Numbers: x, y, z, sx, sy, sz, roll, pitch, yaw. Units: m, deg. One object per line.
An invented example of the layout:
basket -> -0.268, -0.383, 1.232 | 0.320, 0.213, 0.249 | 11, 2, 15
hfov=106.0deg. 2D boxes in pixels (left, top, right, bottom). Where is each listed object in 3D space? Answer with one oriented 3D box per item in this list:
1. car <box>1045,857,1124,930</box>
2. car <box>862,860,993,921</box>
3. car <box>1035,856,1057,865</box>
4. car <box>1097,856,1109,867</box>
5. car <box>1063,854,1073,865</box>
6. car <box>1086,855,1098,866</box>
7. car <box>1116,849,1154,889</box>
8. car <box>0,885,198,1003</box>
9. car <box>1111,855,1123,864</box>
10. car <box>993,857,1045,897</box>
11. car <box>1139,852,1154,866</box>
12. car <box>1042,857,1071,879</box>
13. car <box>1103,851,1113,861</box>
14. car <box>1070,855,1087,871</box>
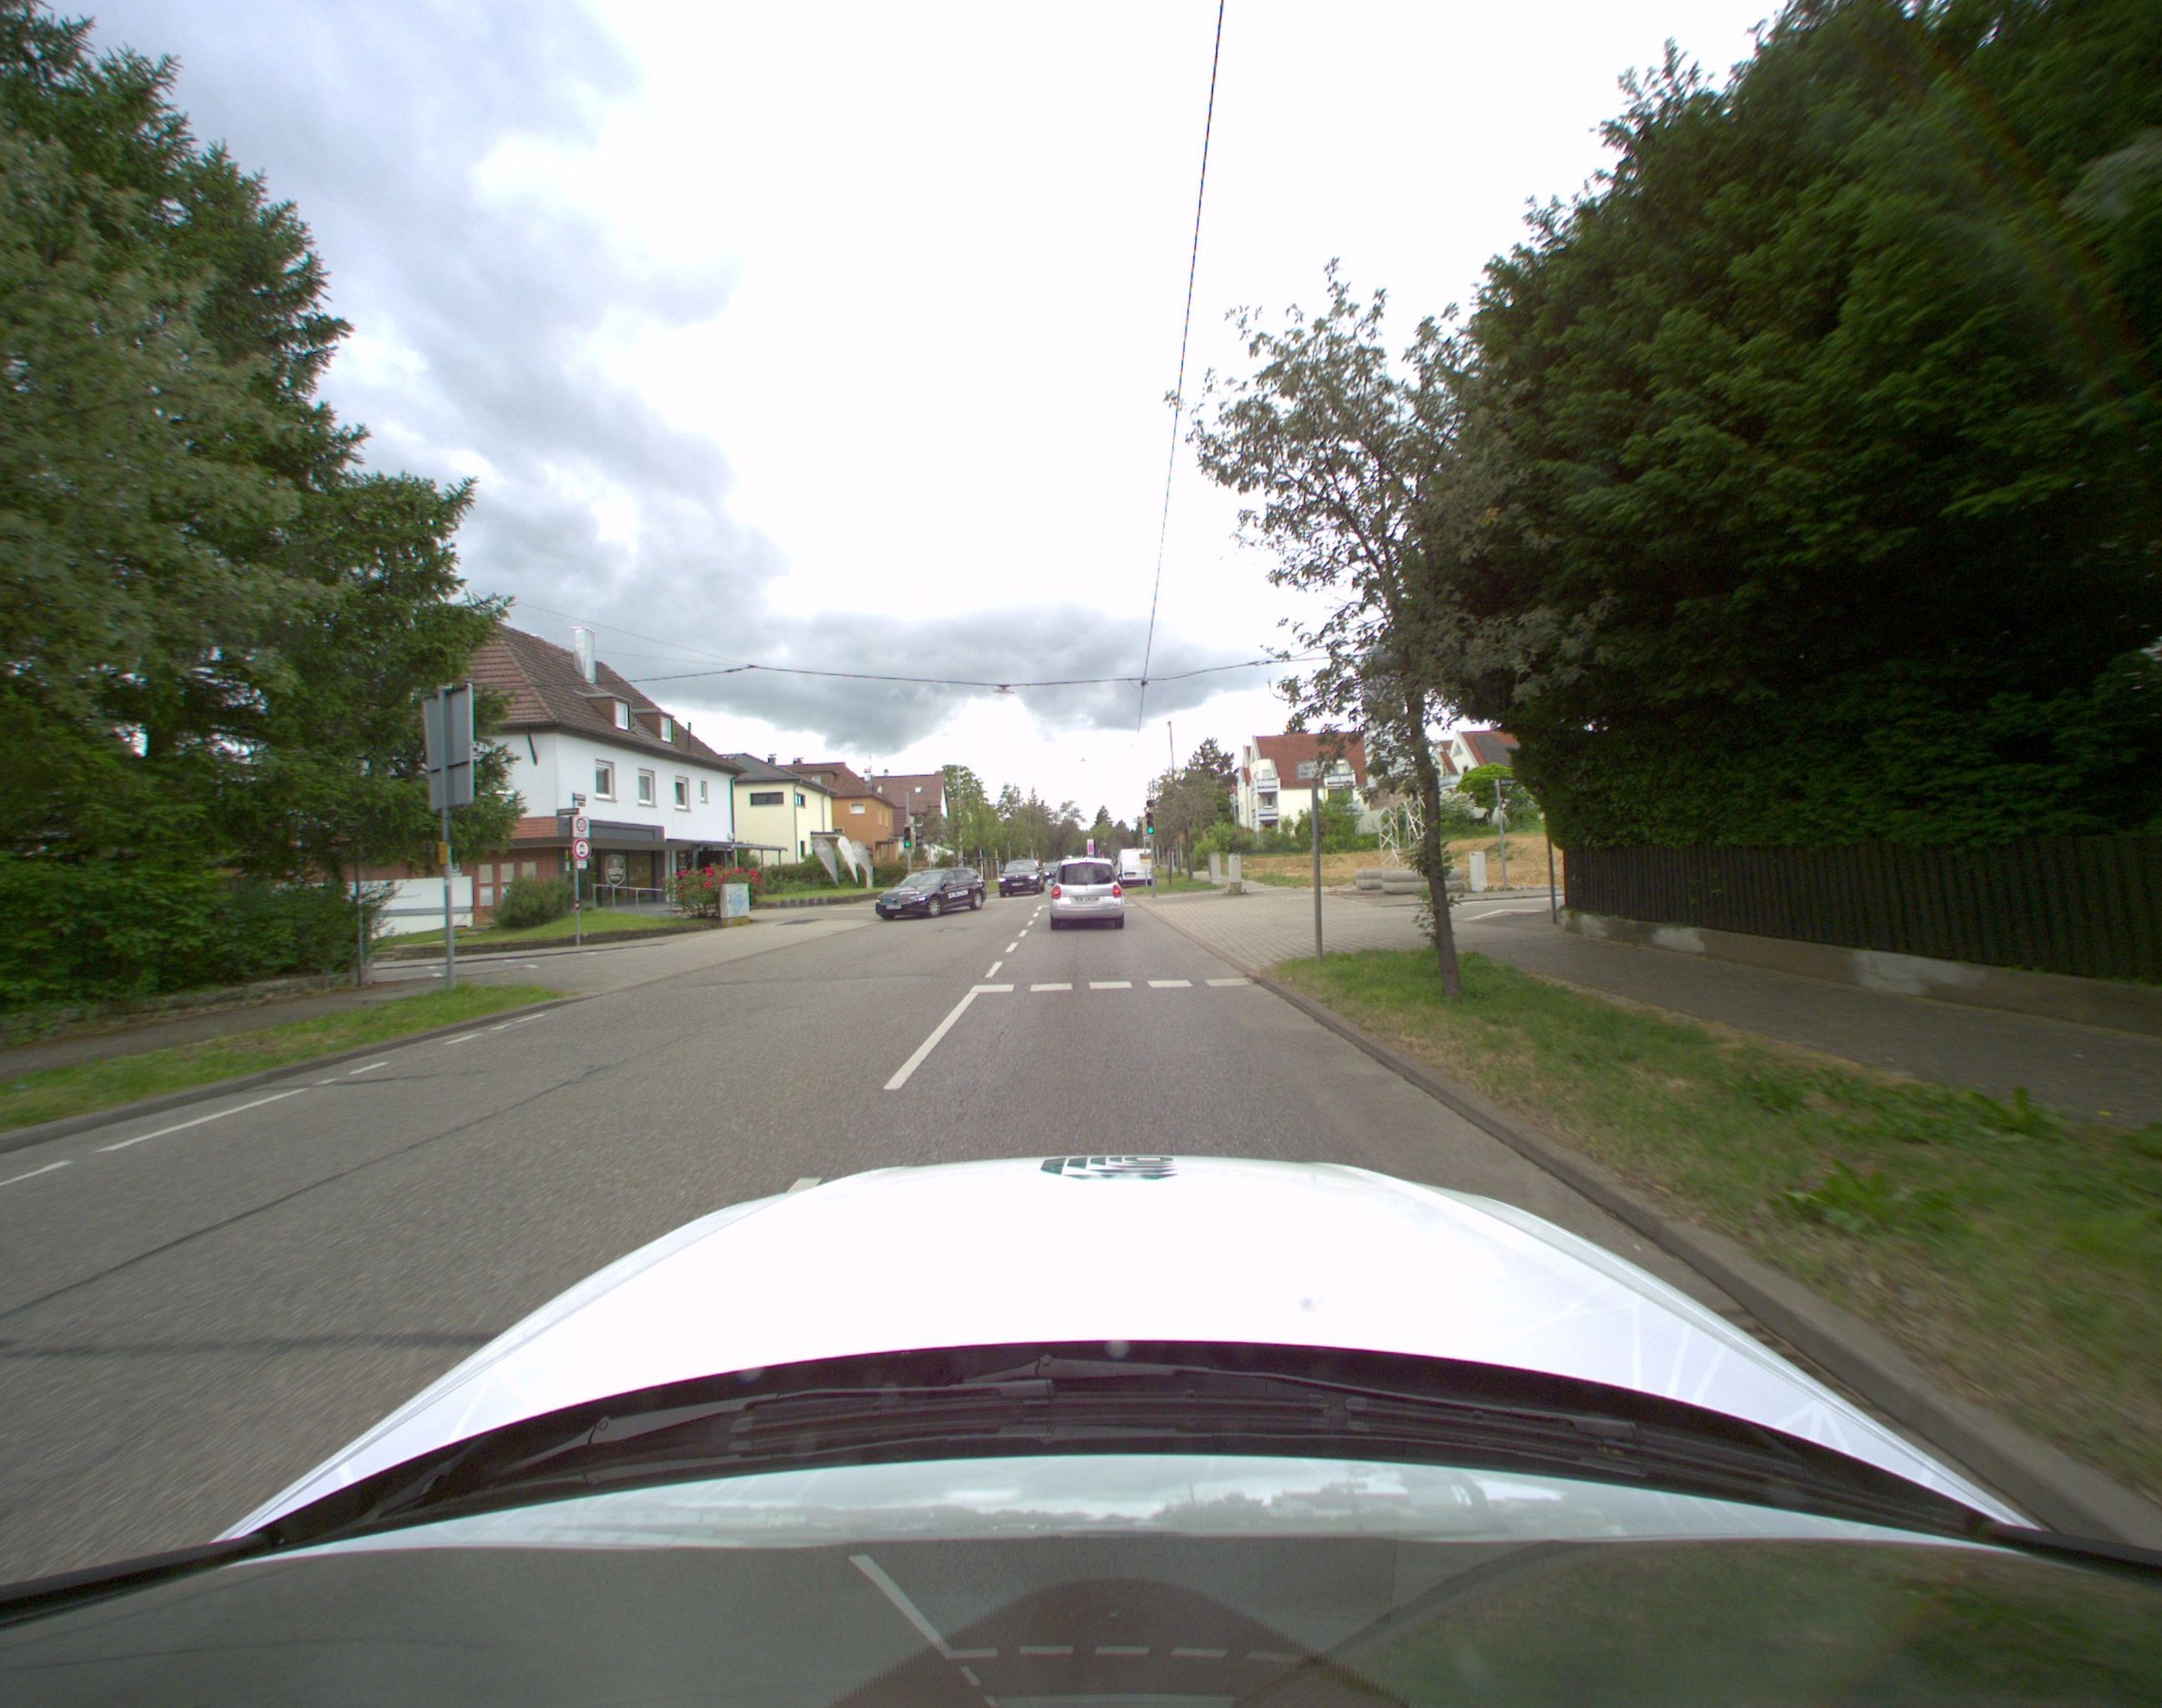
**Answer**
car -> 0.152, 0.863, 19.325 | 1.673, 1.560, 3.514 | -1, 0, 2
car -> -4.752, 1.095, 25.959 | 1.977, 1.620, 4.670 | -3, 0, 19
car -> -6.730, 1.257, 157.785 | 4.071, 1.706, 1.748 | -3, 0, 2
car -> 3.864, 1.334, 146.049 | 1.830, 1.713, 3.997 | -4, 0, -2
car -> -3.198, 1.386, 207.499 | 2.066, 2.582, 5.302 | -5, 0, 2
car -> 1.878, 1.046, 138.044 | 1.788, 1.752, 4.302 | -4, 0, 3
car -> 2.788, 0.736, 43.028 | 1.768, 1.943, 4.790 | -2, 0, 2
car -> -26.086, 2.296, 20.329 | 5.588, 2.563, 2.130 | -5, -1, -1
car -> 6.247, 0.989, 141.226 | 1.623, 1.452, 3.870 | -3, 0, -4
car -> -2.827, 1.028, 37.822 | 1.888, 1.624, 4.002 | -3, 0, 2
car -> 8.519, 0.687, 106.137 | 1.822, 1.712, 4.552 | -3, 0, 3
car -> -1.755, 1.004, 59.617 | 1.609, 1.472, 4.004 | -3, 0, 4
car -> 7.669, 0.669, 233.537 | 2.276, 2.911, 5.273 | -1, -1, -3
car -> -0.257, 1.066, 96.661 | 1.807, 1.692, 4.467 | -4, 0, 2
